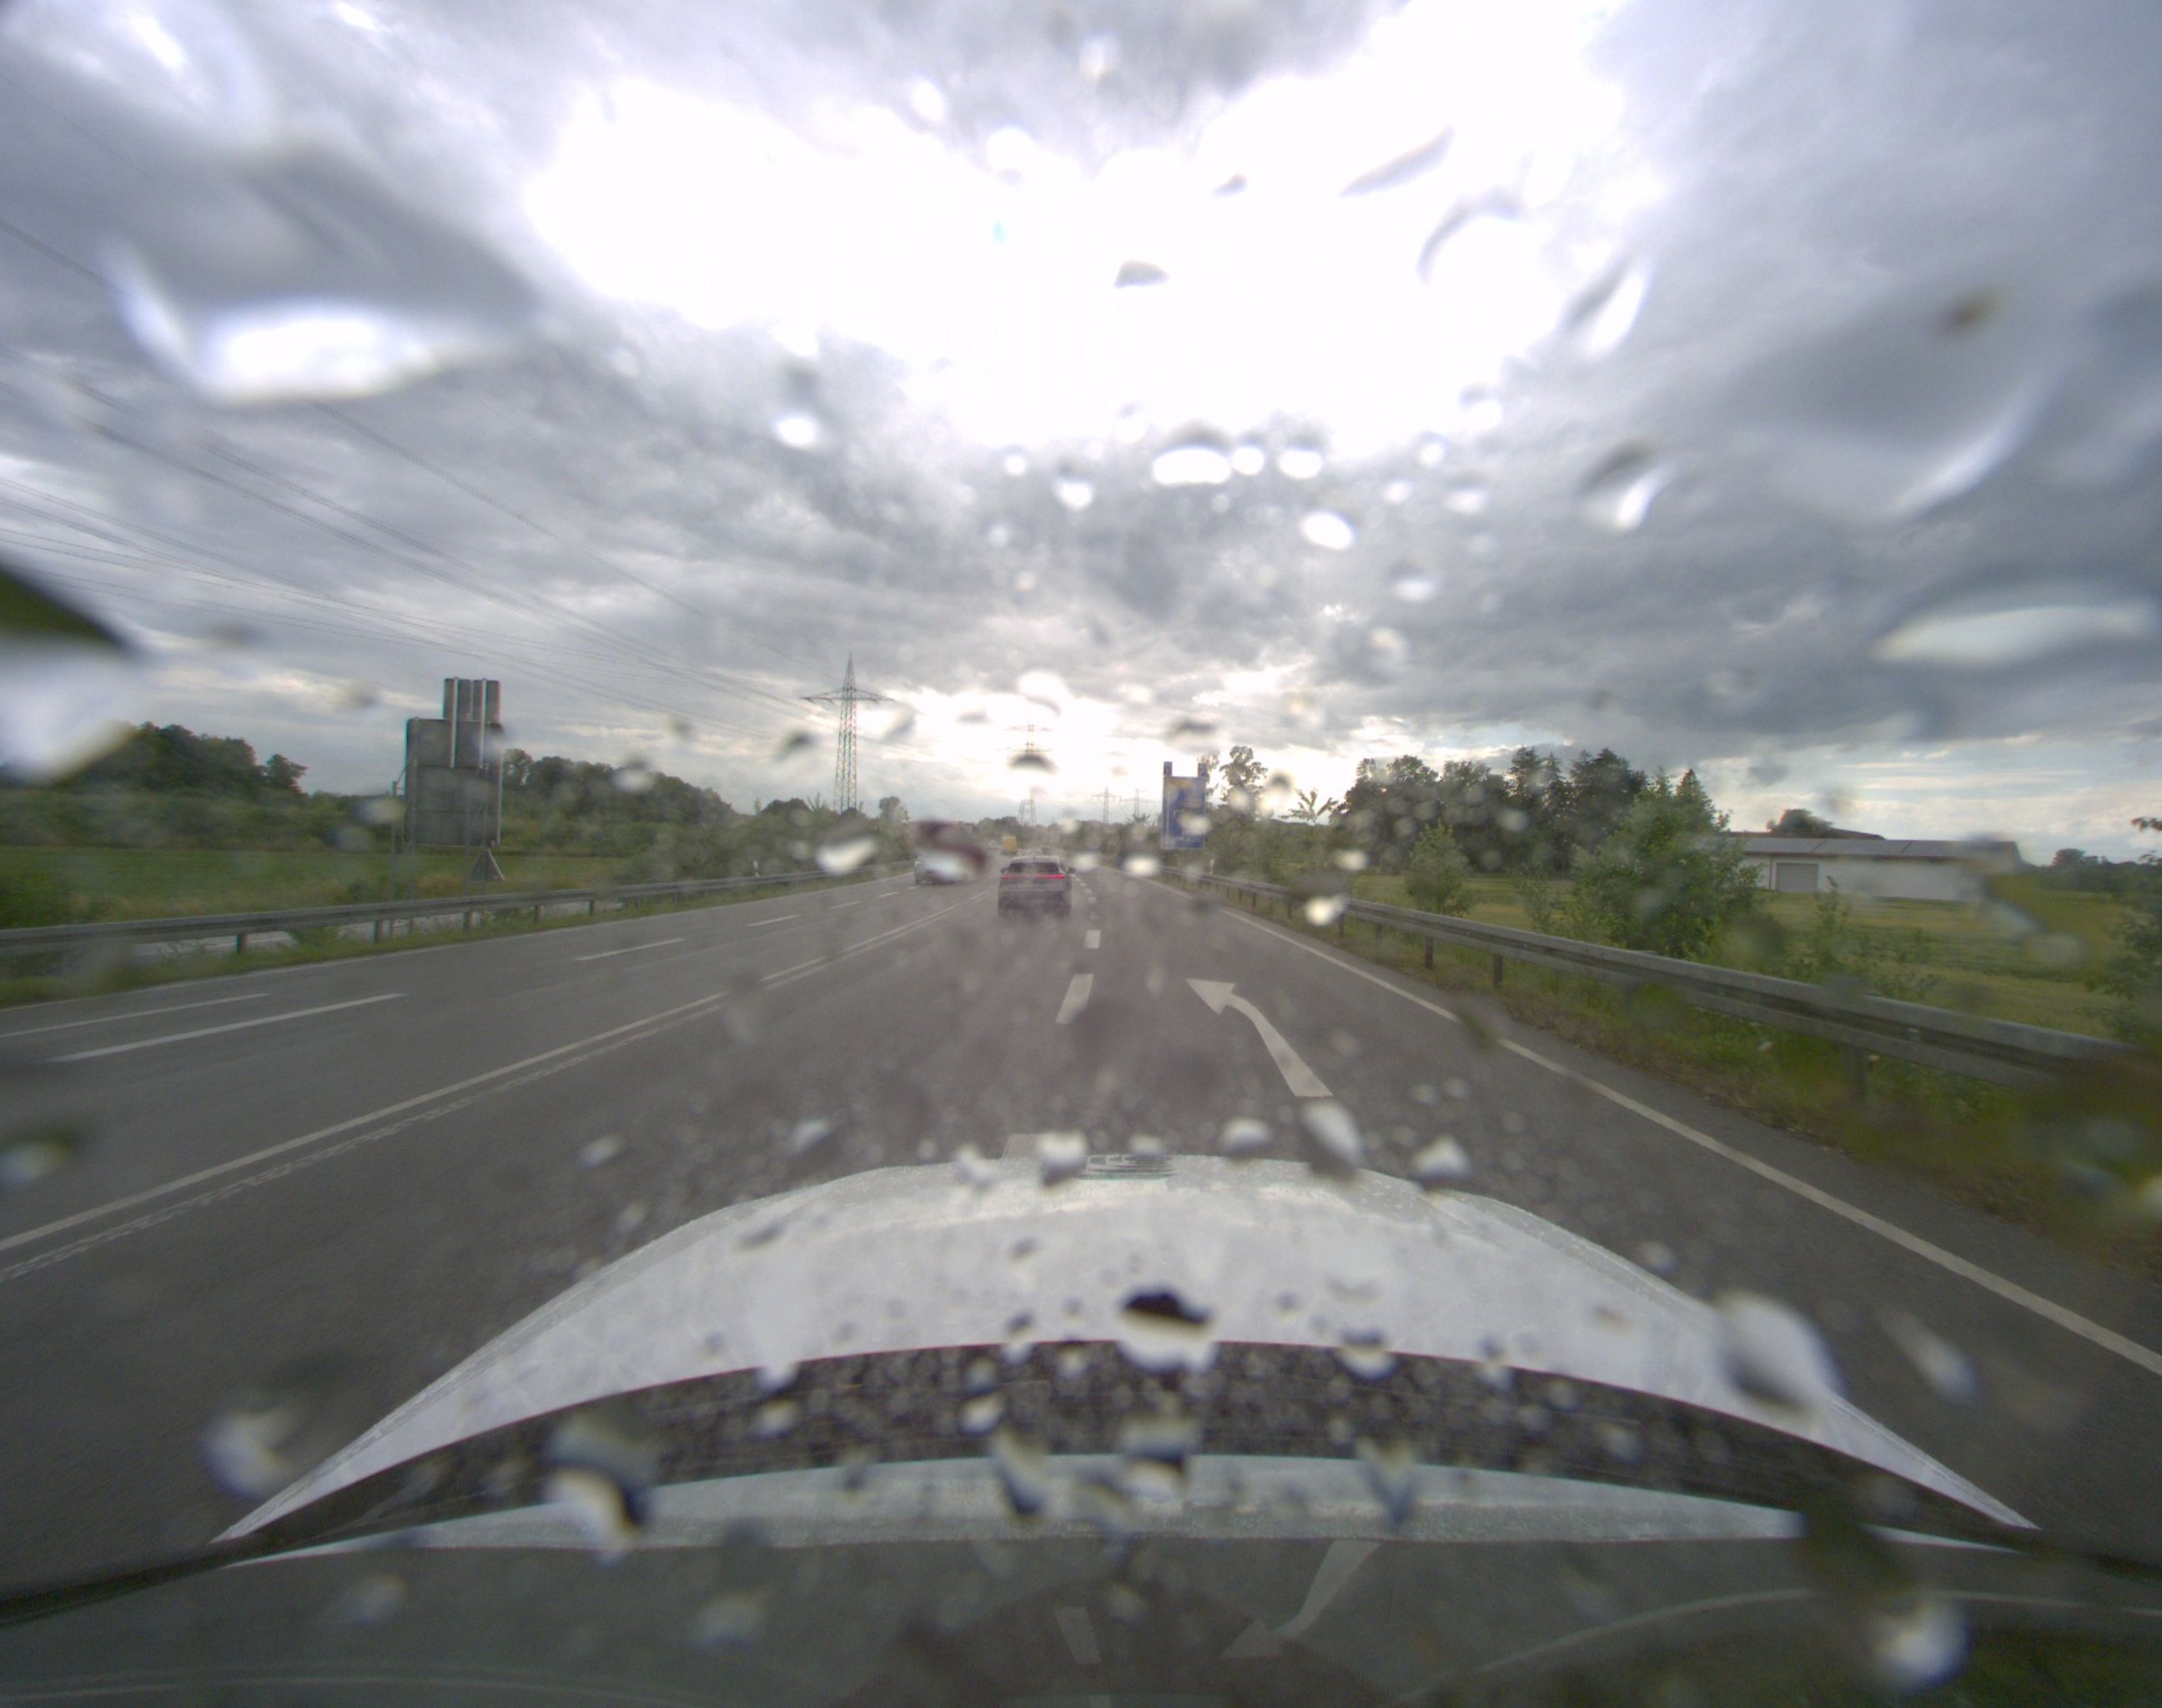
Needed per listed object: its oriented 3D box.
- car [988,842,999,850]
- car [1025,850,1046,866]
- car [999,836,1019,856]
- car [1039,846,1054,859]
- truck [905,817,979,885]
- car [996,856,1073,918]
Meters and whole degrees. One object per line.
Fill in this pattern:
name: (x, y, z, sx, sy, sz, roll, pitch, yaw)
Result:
car: (-15.182, -1.423, 141.948, 1.789, 1.441, 3.993, -1, 1, -5)
car: (-4.096, 0.340, 73.493, 1.787, 1.441, 3.996, 0, 0, -3)
car: (-10.406, -1.197, 117.889, 2.568, 2.725, 7.187, -3, 1, -3)
car: (-4.367, -0.188, 101.716, 1.788, 1.541, 3.995, -1, 0, -4)
truck: (-7.266, -0.170, 43.543, 2.472, 3.292, 7.283, -1, 0, 1)
car: (-1.130, 0.799, 21.346, 1.786, 1.441, 3.998, -1, -1, -1)
